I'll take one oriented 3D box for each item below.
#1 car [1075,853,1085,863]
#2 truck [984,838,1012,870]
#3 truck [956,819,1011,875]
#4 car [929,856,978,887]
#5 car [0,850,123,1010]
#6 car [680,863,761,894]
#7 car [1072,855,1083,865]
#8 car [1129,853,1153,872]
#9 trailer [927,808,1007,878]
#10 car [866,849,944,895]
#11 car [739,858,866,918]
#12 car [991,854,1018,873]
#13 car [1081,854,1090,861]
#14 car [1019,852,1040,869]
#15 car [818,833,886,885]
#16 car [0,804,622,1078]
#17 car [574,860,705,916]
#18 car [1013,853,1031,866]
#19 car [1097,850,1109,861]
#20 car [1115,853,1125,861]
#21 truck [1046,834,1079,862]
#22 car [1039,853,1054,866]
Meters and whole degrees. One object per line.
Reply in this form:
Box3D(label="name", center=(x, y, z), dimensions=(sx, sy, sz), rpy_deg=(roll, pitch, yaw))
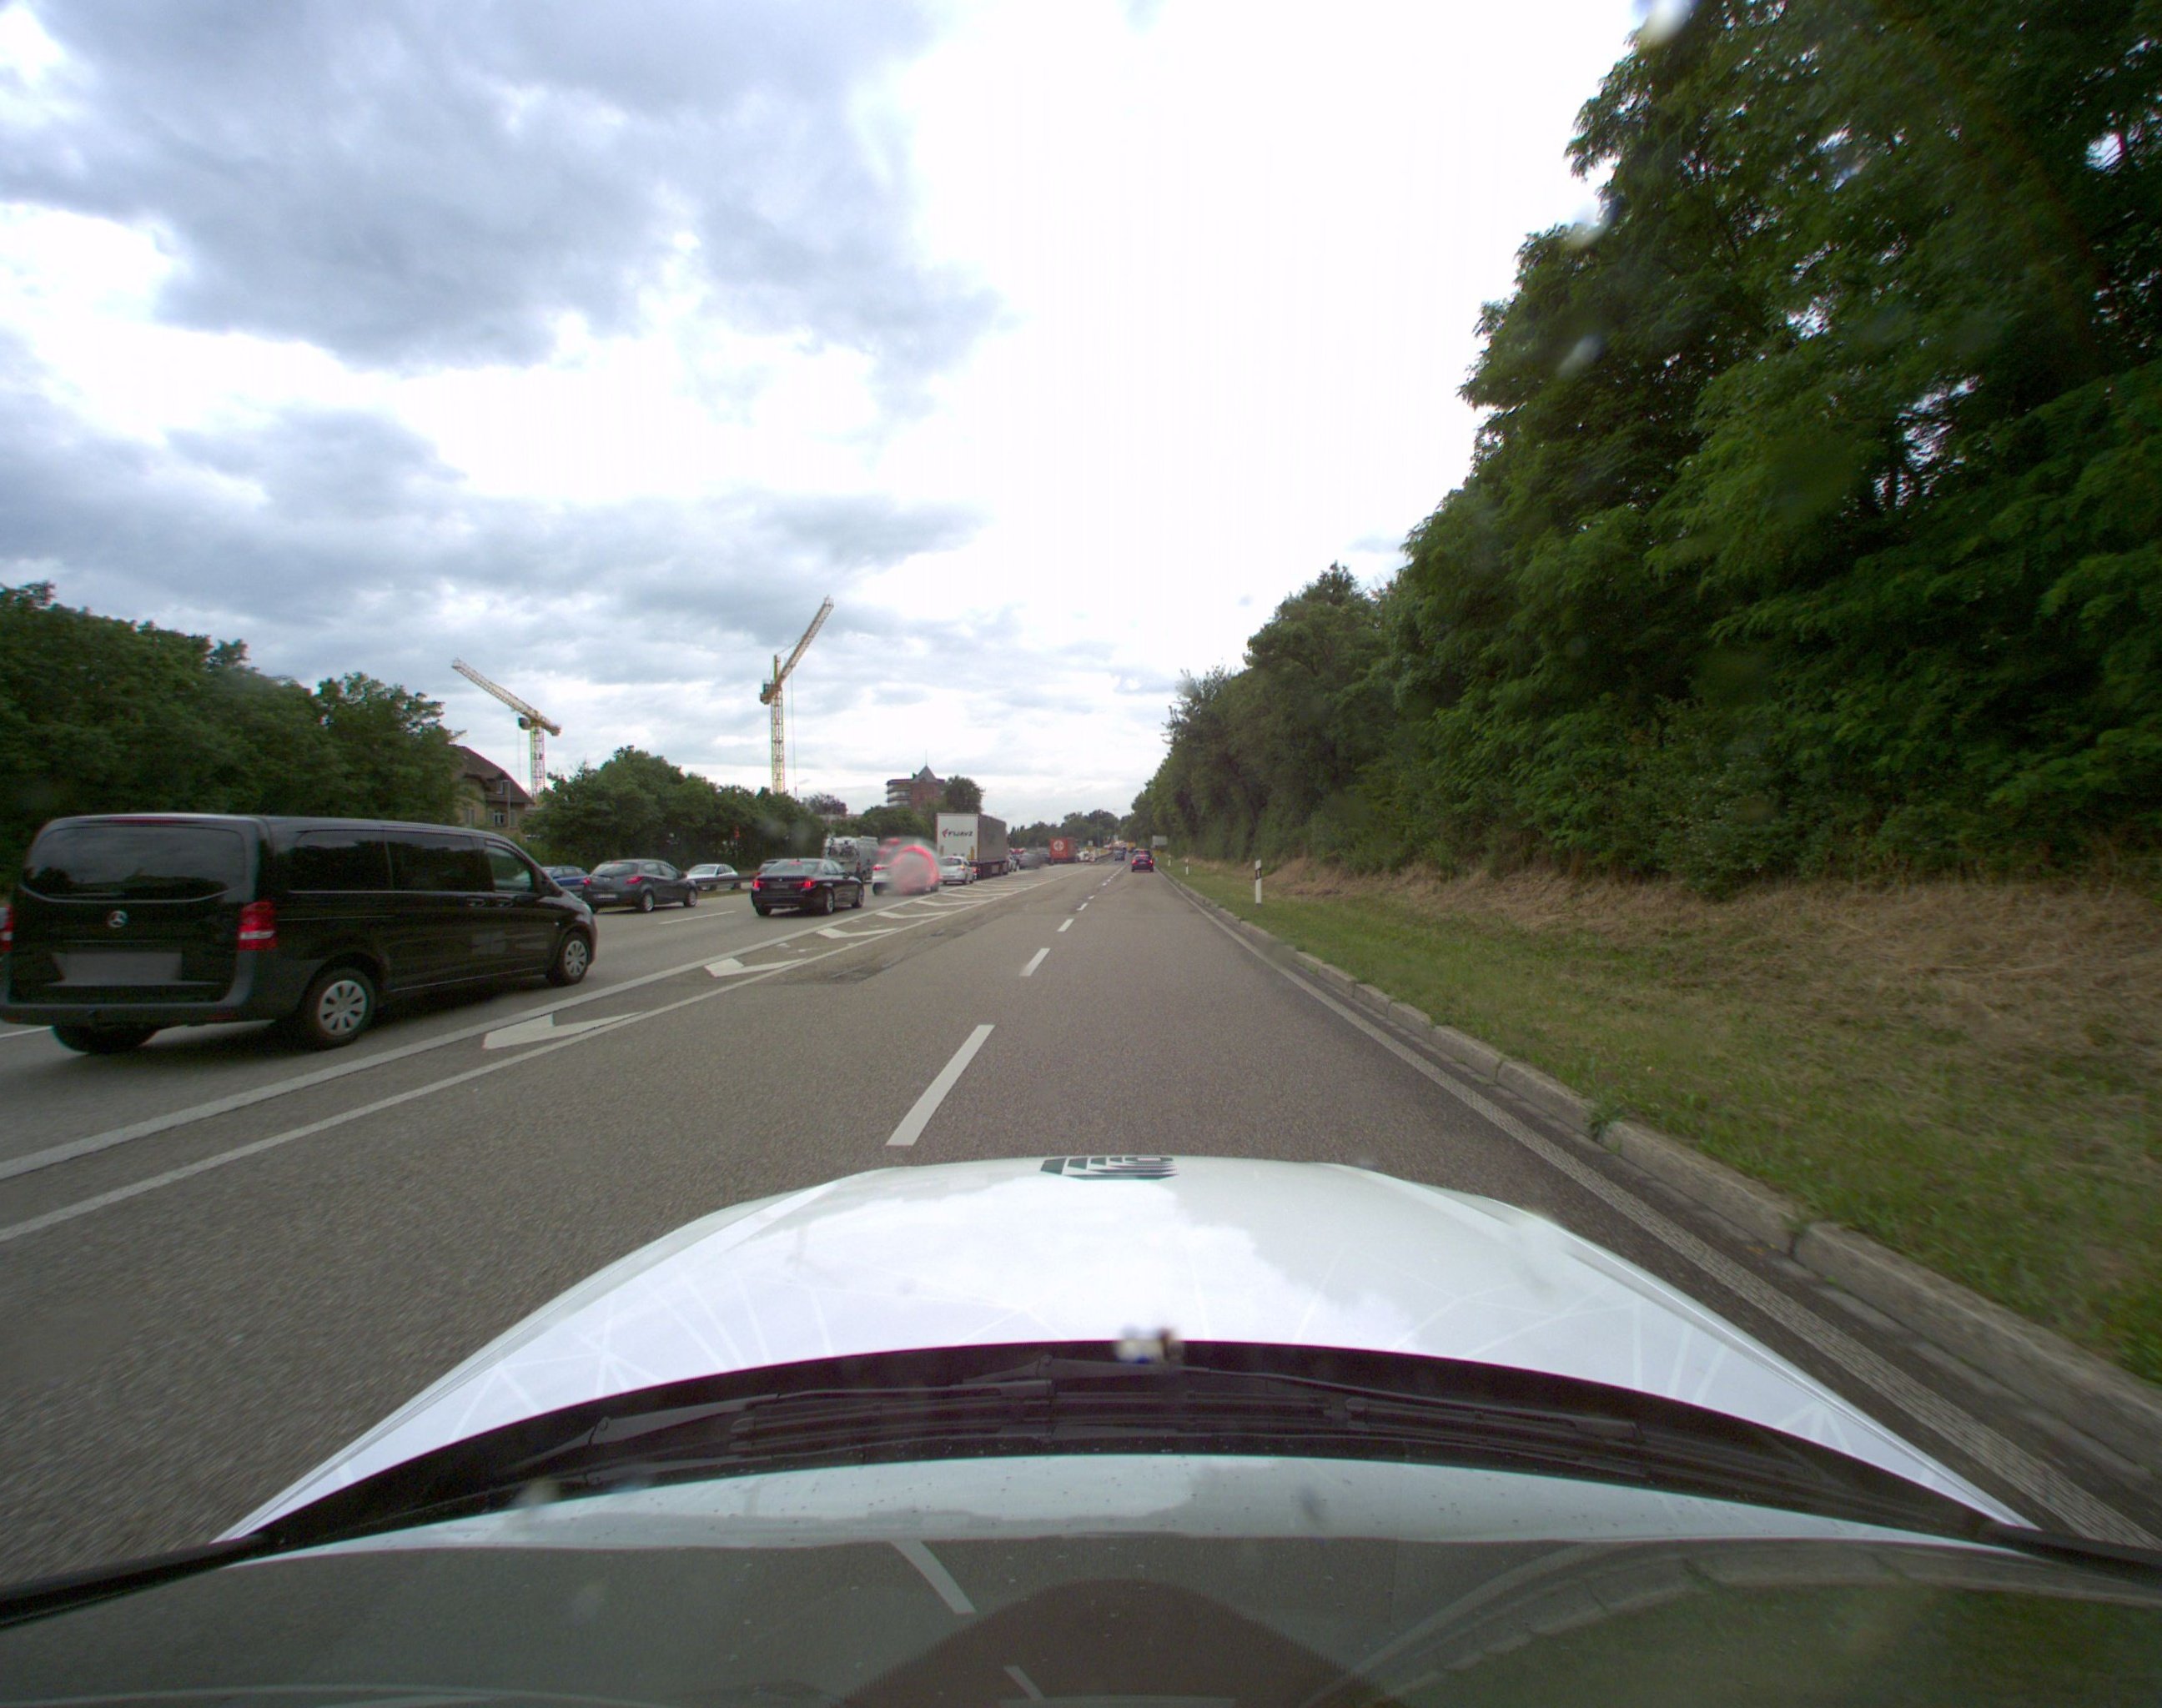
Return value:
Box3D(label="car", center=(-0.187, 0.791, 162.715), dimensions=(1.607, 1.948, 3.708), rpy_deg=(0, -1, 3))
Box3D(label="truck", center=(-11.300, 0.025, 111.347), dimensions=(2.730, 4.138, 10.693), rpy_deg=(0, -1, 0))
Box3D(label="truck", center=(-7.137, -0.477, 60.691), dimensions=(3.188, 3.947, 7.073), rpy_deg=(0, -1, 0))
Box3D(label="car", center=(-6.532, 0.868, 42.192), dimensions=(1.758, 1.478, 4.090), rpy_deg=(1, 0, 1))
Box3D(label="car", center=(-11.820, 0.786, 6.915), dimensions=(1.854, 1.613, 4.650), rpy_deg=(-1, 0, -1))
Box3D(label="car", center=(-18.672, 1.234, 42.410), dimensions=(1.986, 1.552, 4.715), rpy_deg=(0, -1, 2))
Box3D(label="car", center=(-0.655, 1.160, 152.211), dimensions=(1.606, 1.948, 3.710), rpy_deg=(0, -1, 5))
Box3D(label="car", center=(4.977, 0.674, 67.671), dimensions=(1.818, 1.482, 4.003), rpy_deg=(-2, 0, 2))
Box3D(label="trailer", center=(-7.215, -0.573, 53.822), dimensions=(3.288, 4.036, 13.096), rpy_deg=(0, -1, 0))
Box3D(label="car", center=(-7.002, 0.699, 32.920), dimensions=(1.949, 1.695, 4.867), rpy_deg=(1, -1, 2))
Box3D(label="car", center=(-7.401, 0.862, 22.233), dimensions=(1.842, 1.460, 4.829), rpy_deg=(0, -1, -1))
Box3D(label="car", center=(-6.786, 0.848, 72.745), dimensions=(1.793, 1.604, 4.260), rpy_deg=(0, -1, 2))
Box3D(label="car", center=(0.992, 0.796, 177.744), dimensions=(1.772, 1.482, 3.999), rpy_deg=(-1, 0, 0))
Box3D(label="car", center=(-5.188, 0.685, 82.666), dimensions=(1.710, 1.684, 4.002), rpy_deg=(0, -1, 2))
Box3D(label="car", center=(-12.184, 0.247, 43.642), dimensions=(1.986, 2.553, 5.363), rpy_deg=(-1, 0, 1))
Box3D(label="car", center=(-6.939, 0.621, 8.171), dimensions=(1.983, 1.898, 4.980), rpy_deg=(0, -1, -2))
Box3D(label="car", center=(-12.474, 0.903, 23.309), dimensions=(1.670, 1.389, 3.997), rpy_deg=(-1, 0, -2))
Box3D(label="car", center=(-7.872, 0.761, 108.287), dimensions=(1.851, 1.618, 4.003), rpy_deg=(0, -1, 3))
Box3D(label="car", center=(3.946, 0.244, 146.500), dimensions=(1.944, 2.013, 4.001), rpy_deg=(-1, 0, 1))
Box3D(label="car", center=(6.993, 0.538, 146.739), dimensions=(1.818, 1.482, 4.002), rpy_deg=(-2, 0, 2))
Box3D(label="truck", center=(-2.824, -0.928, 127.679), dimensions=(3.473, 4.073, 13.613), rpy_deg=(-2, 0, 6))
Box3D(label="car", center=(-4.506, 0.706, 106.846), dimensions=(1.710, 1.684, 4.002), rpy_deg=(0, -1, 2))
